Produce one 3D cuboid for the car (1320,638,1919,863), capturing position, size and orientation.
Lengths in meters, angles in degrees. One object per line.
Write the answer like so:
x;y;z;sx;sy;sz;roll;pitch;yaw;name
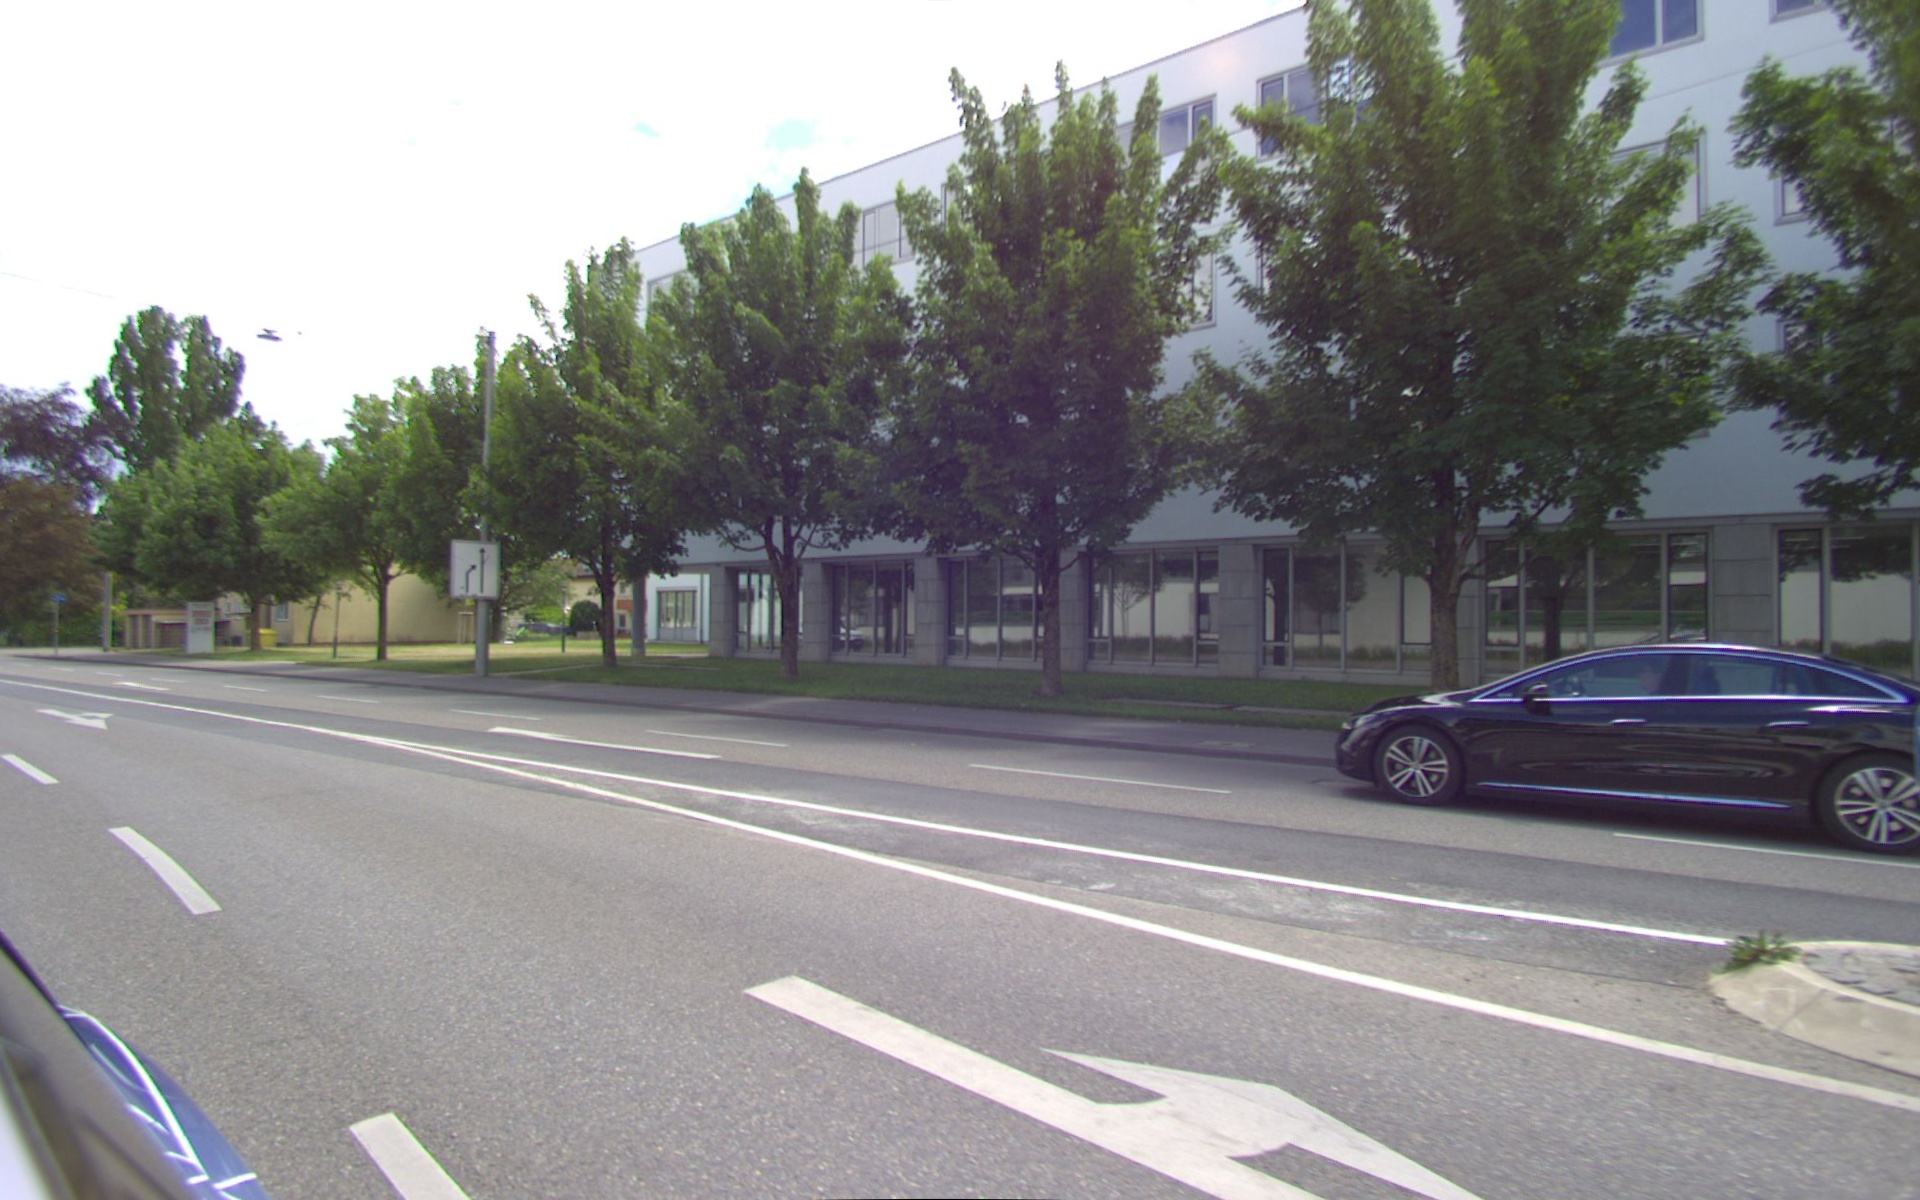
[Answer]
5.908;1.117;8.584;5.041;1.456;2.005;-1;-4;37;car
